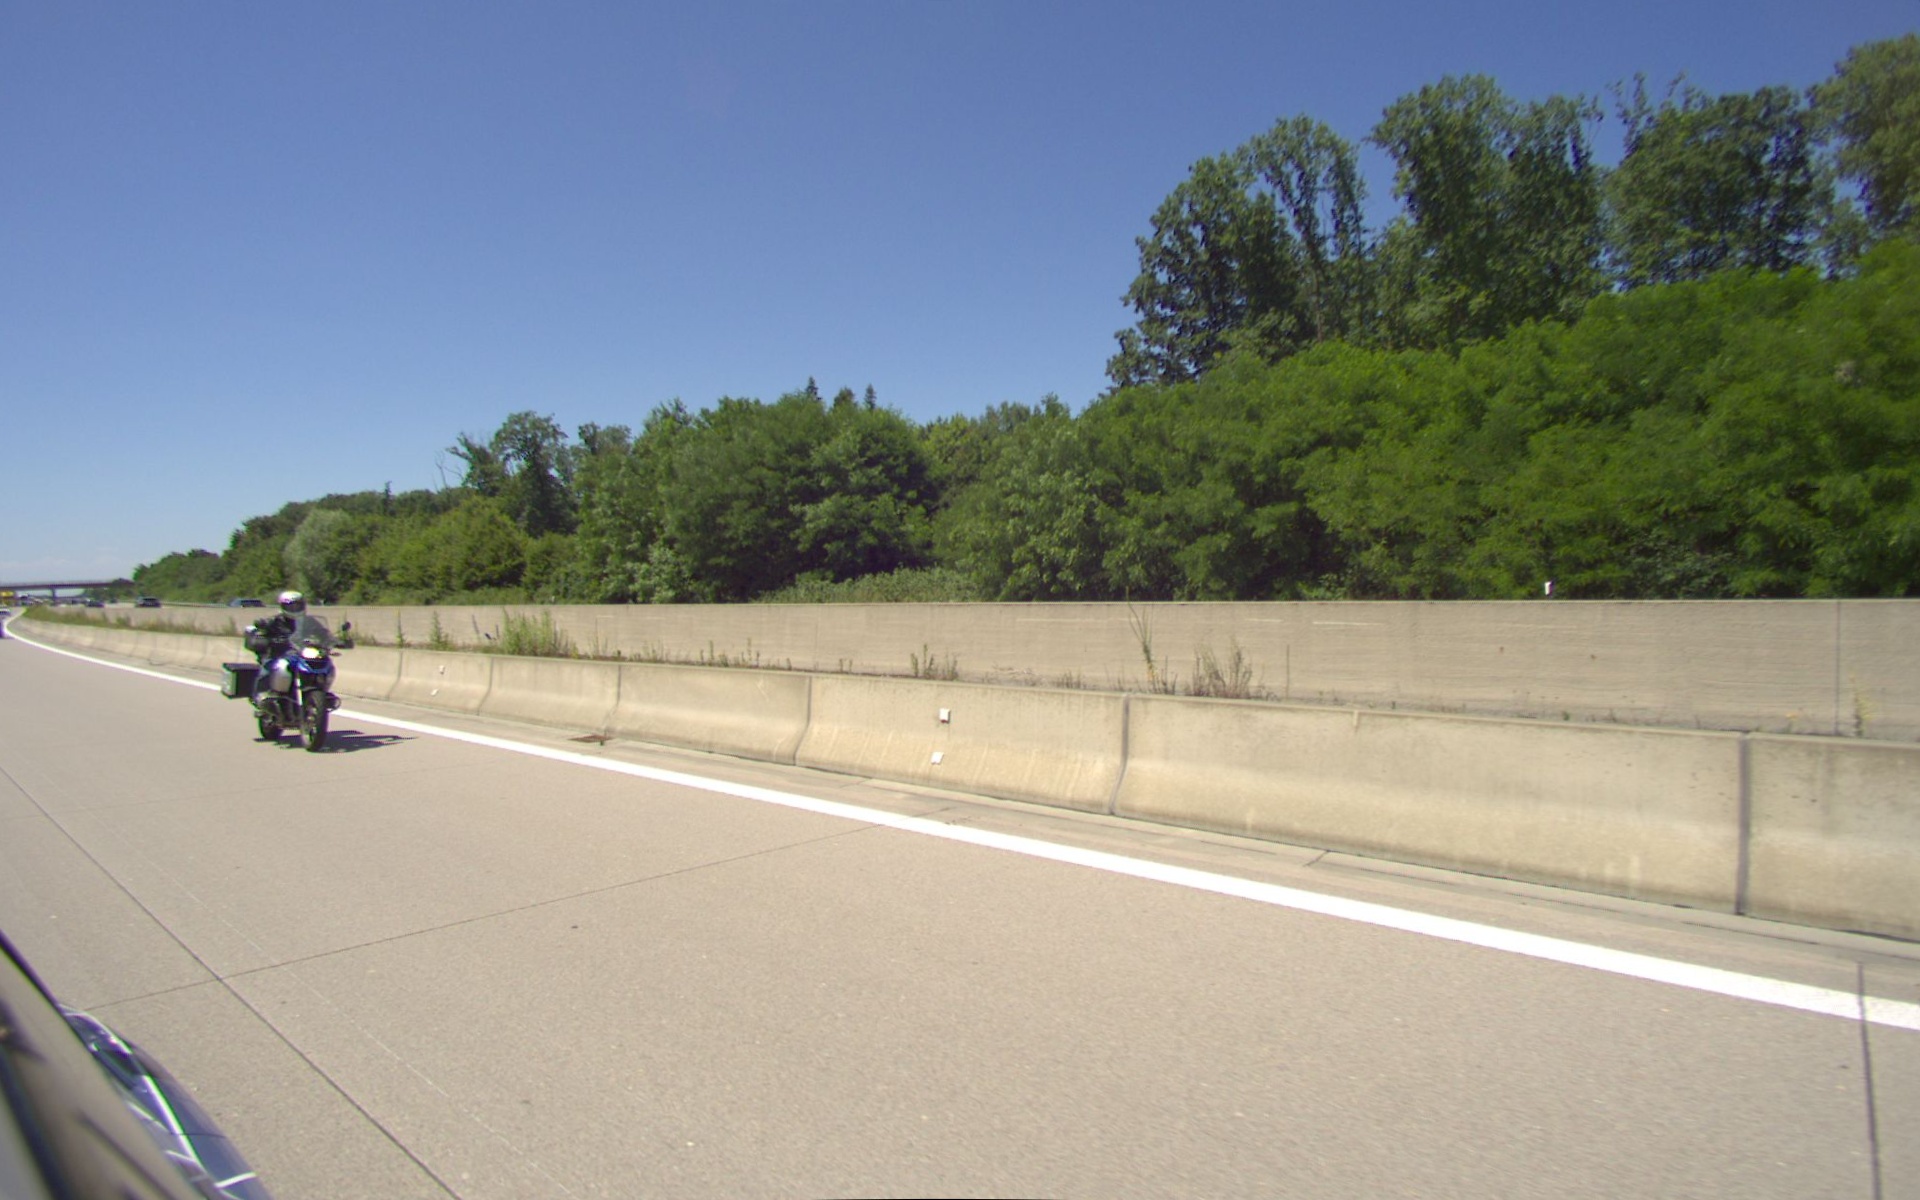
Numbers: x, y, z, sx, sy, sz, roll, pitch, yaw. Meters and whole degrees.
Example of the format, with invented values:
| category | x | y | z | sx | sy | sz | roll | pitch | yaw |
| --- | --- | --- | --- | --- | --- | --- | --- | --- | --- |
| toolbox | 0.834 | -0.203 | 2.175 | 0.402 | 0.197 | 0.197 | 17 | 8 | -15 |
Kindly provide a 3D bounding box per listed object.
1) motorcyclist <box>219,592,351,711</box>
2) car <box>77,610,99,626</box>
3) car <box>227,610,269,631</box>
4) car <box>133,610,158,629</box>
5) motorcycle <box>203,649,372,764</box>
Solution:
| category | x | y | z | sx | sy | sz | roll | pitch | yaw |
| --- | --- | --- | --- | --- | --- | --- | --- | --- | --- |
| motorcyclist | -7.405 | 0.541 | 11.105 | 0.911 | 1.218 | 1.013 | -2 | -1 | 43 |
| car | -106.554 | 2.228 | 123.650 | 4.008 | 1.936 | 1.640 | -1 | 0 | 45 |
| car | -48.146 | 1.355 | 68.431 | 3.641 | 1.336 | 1.595 | -1 | 1 | 43 |
| car | -85.023 | 2.032 | 105.635 | 4.140 | 1.936 | 1.640 | -1 | -1 | 45 |
| motorcycle | -7.429 | 1.107 | 11.128 | 2.413 | 1.056 | 1.010 | -2 | -1 | 43 |
